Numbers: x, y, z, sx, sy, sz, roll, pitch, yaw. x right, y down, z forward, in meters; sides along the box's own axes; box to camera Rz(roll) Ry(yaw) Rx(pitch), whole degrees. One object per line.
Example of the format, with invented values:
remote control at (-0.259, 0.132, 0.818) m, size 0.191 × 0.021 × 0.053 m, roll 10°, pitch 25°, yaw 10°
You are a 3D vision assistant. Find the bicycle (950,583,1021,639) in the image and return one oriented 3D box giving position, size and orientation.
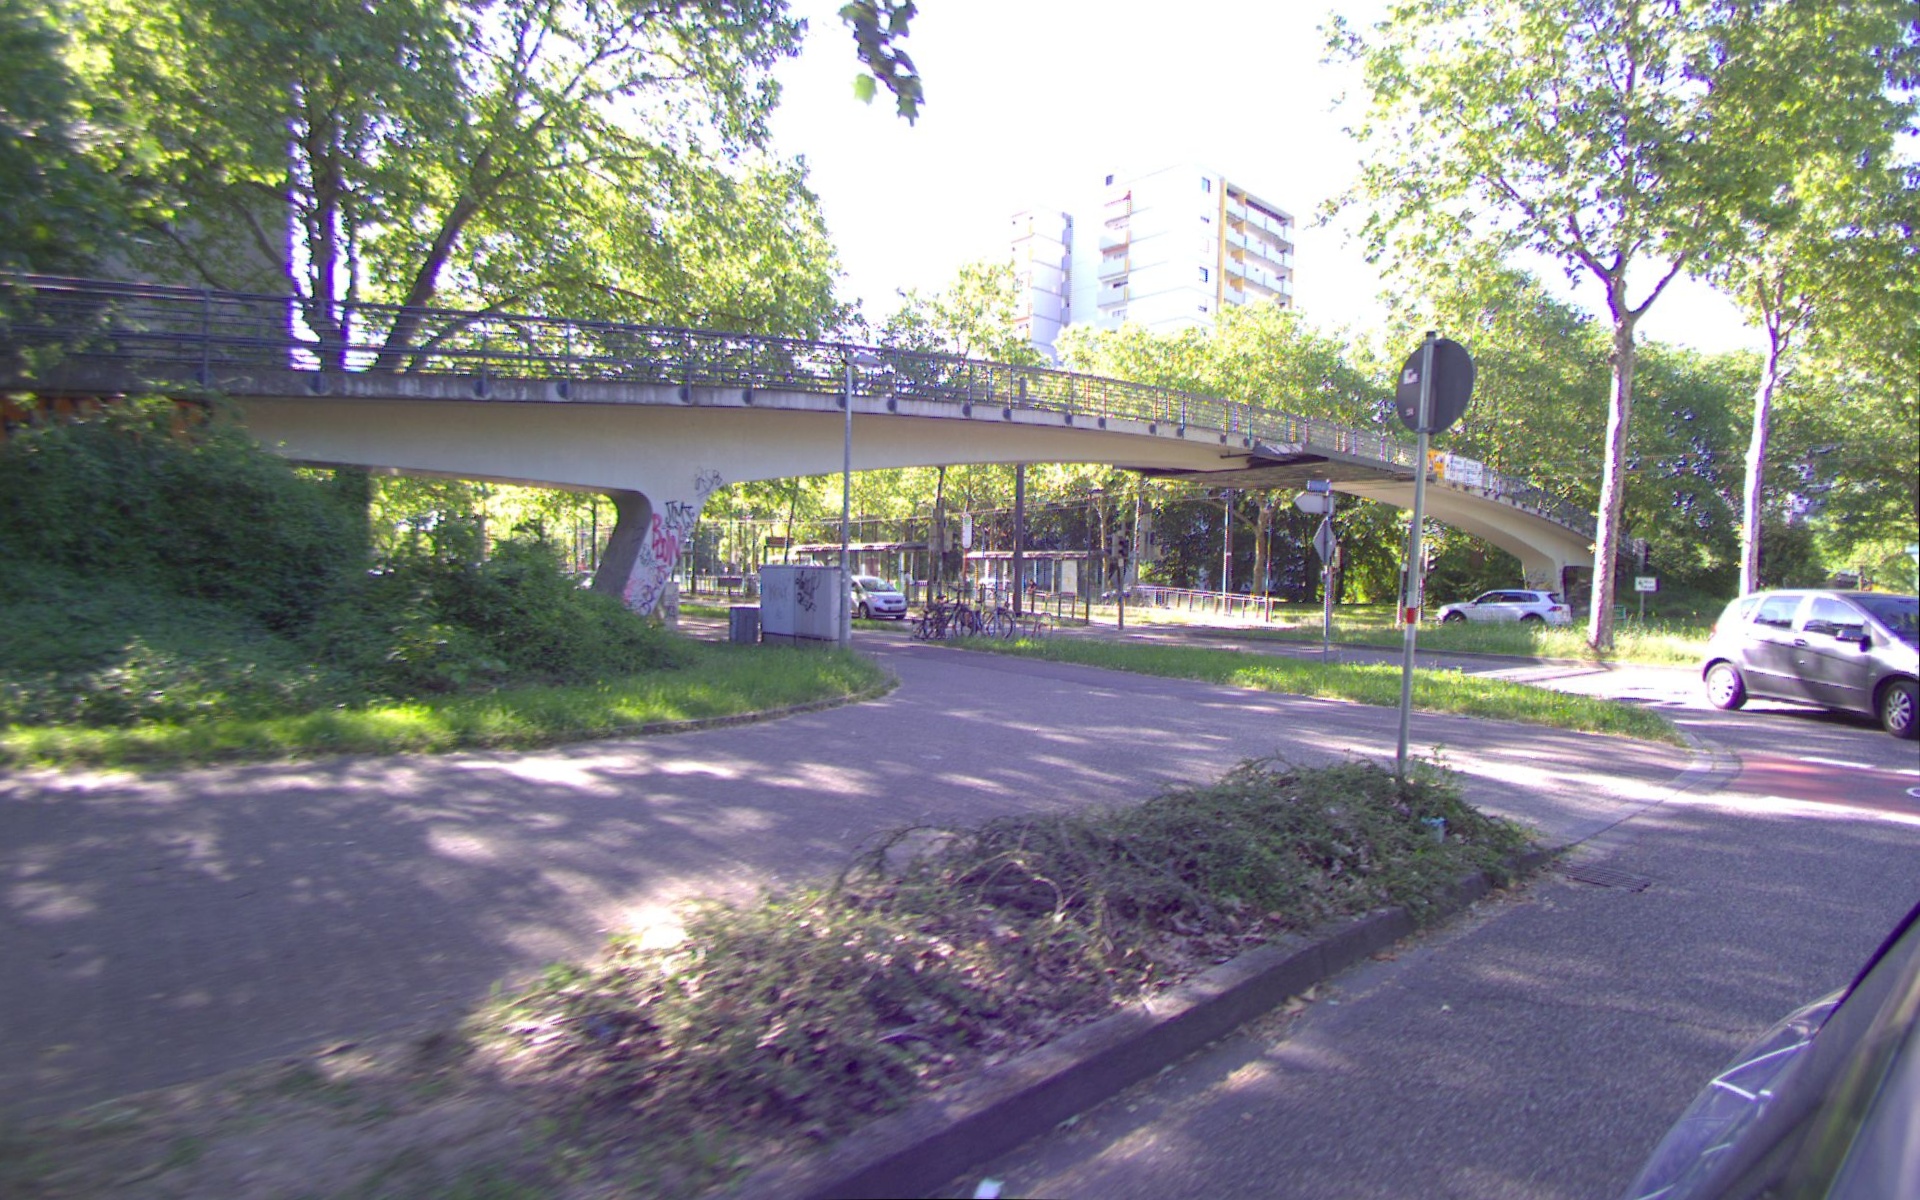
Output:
bicycle at (0.573, 0.237, 23.324) m, size 0.581 × 1.198 × 1.799 m, roll 4°, pitch -2°, yaw -37°

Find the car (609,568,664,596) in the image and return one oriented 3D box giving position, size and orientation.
car at (-18.800, -1.061, 58.733) m, size 1.767 × 1.529 × 3.998 m, roll -2°, pitch 2°, yaw -38°

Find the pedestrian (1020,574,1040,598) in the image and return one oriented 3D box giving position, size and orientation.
pedestrian at (3.676, -0.720, 53.116) m, size 0.766 × 1.253 × 0.721 m, roll 0°, pitch 1°, yaw -38°

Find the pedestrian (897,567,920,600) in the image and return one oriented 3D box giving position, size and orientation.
pedestrian at (-2.242, -0.713, 44.150) m, size 0.713 × 1.435 × 0.682 m, roll 0°, pitch 1°, yaw -37°

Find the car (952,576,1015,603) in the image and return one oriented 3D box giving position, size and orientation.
car at (1.469, -0.698, 65.352) m, size 1.766 × 1.585 × 4.287 m, roll 0°, pitch 2°, yaw -36°

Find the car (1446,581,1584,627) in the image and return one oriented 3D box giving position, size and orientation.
car at (20.207, 0.106, 36.974) m, size 1.769 × 1.529 × 4.080 m, roll 0°, pitch 2°, yaw -42°

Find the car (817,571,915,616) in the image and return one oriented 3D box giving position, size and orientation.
car at (-3.588, -0.267, 38.045) m, size 1.767 × 1.558 × 3.997 m, roll 1°, pitch 1°, yaw -38°

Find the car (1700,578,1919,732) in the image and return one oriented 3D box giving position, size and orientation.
car at (10.934, 0.558, 11.848) m, size 1.766 × 1.609 × 3.763 m, roll 1°, pitch 1°, yaw 1°

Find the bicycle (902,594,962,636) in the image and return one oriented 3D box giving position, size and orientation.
bicycle at (-0.626, 0.317, 22.022) m, size 0.497 × 0.863 × 1.473 m, roll 4°, pitch -2°, yaw -37°

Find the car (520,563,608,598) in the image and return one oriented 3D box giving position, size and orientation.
car at (-18.798, -0.887, 48.212) m, size 1.773 × 1.480 × 4.238 m, roll 3°, pitch 0°, yaw 13°

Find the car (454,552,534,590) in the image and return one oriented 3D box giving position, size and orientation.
car at (-28.246, -1.722, 61.483) m, size 1.988 × 2.078 × 4.571 m, roll 3°, pitch 0°, yaw 13°

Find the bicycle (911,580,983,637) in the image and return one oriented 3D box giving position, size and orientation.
bicycle at (-0.310, 0.181, 22.555) m, size 0.581 × 1.198 × 1.799 m, roll 4°, pitch -2°, yaw -37°

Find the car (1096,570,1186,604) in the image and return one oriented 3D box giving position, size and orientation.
car at (9.119, -0.681, 51.280) m, size 1.769 × 1.585 × 4.280 m, roll 0°, pitch 2°, yaw -42°
